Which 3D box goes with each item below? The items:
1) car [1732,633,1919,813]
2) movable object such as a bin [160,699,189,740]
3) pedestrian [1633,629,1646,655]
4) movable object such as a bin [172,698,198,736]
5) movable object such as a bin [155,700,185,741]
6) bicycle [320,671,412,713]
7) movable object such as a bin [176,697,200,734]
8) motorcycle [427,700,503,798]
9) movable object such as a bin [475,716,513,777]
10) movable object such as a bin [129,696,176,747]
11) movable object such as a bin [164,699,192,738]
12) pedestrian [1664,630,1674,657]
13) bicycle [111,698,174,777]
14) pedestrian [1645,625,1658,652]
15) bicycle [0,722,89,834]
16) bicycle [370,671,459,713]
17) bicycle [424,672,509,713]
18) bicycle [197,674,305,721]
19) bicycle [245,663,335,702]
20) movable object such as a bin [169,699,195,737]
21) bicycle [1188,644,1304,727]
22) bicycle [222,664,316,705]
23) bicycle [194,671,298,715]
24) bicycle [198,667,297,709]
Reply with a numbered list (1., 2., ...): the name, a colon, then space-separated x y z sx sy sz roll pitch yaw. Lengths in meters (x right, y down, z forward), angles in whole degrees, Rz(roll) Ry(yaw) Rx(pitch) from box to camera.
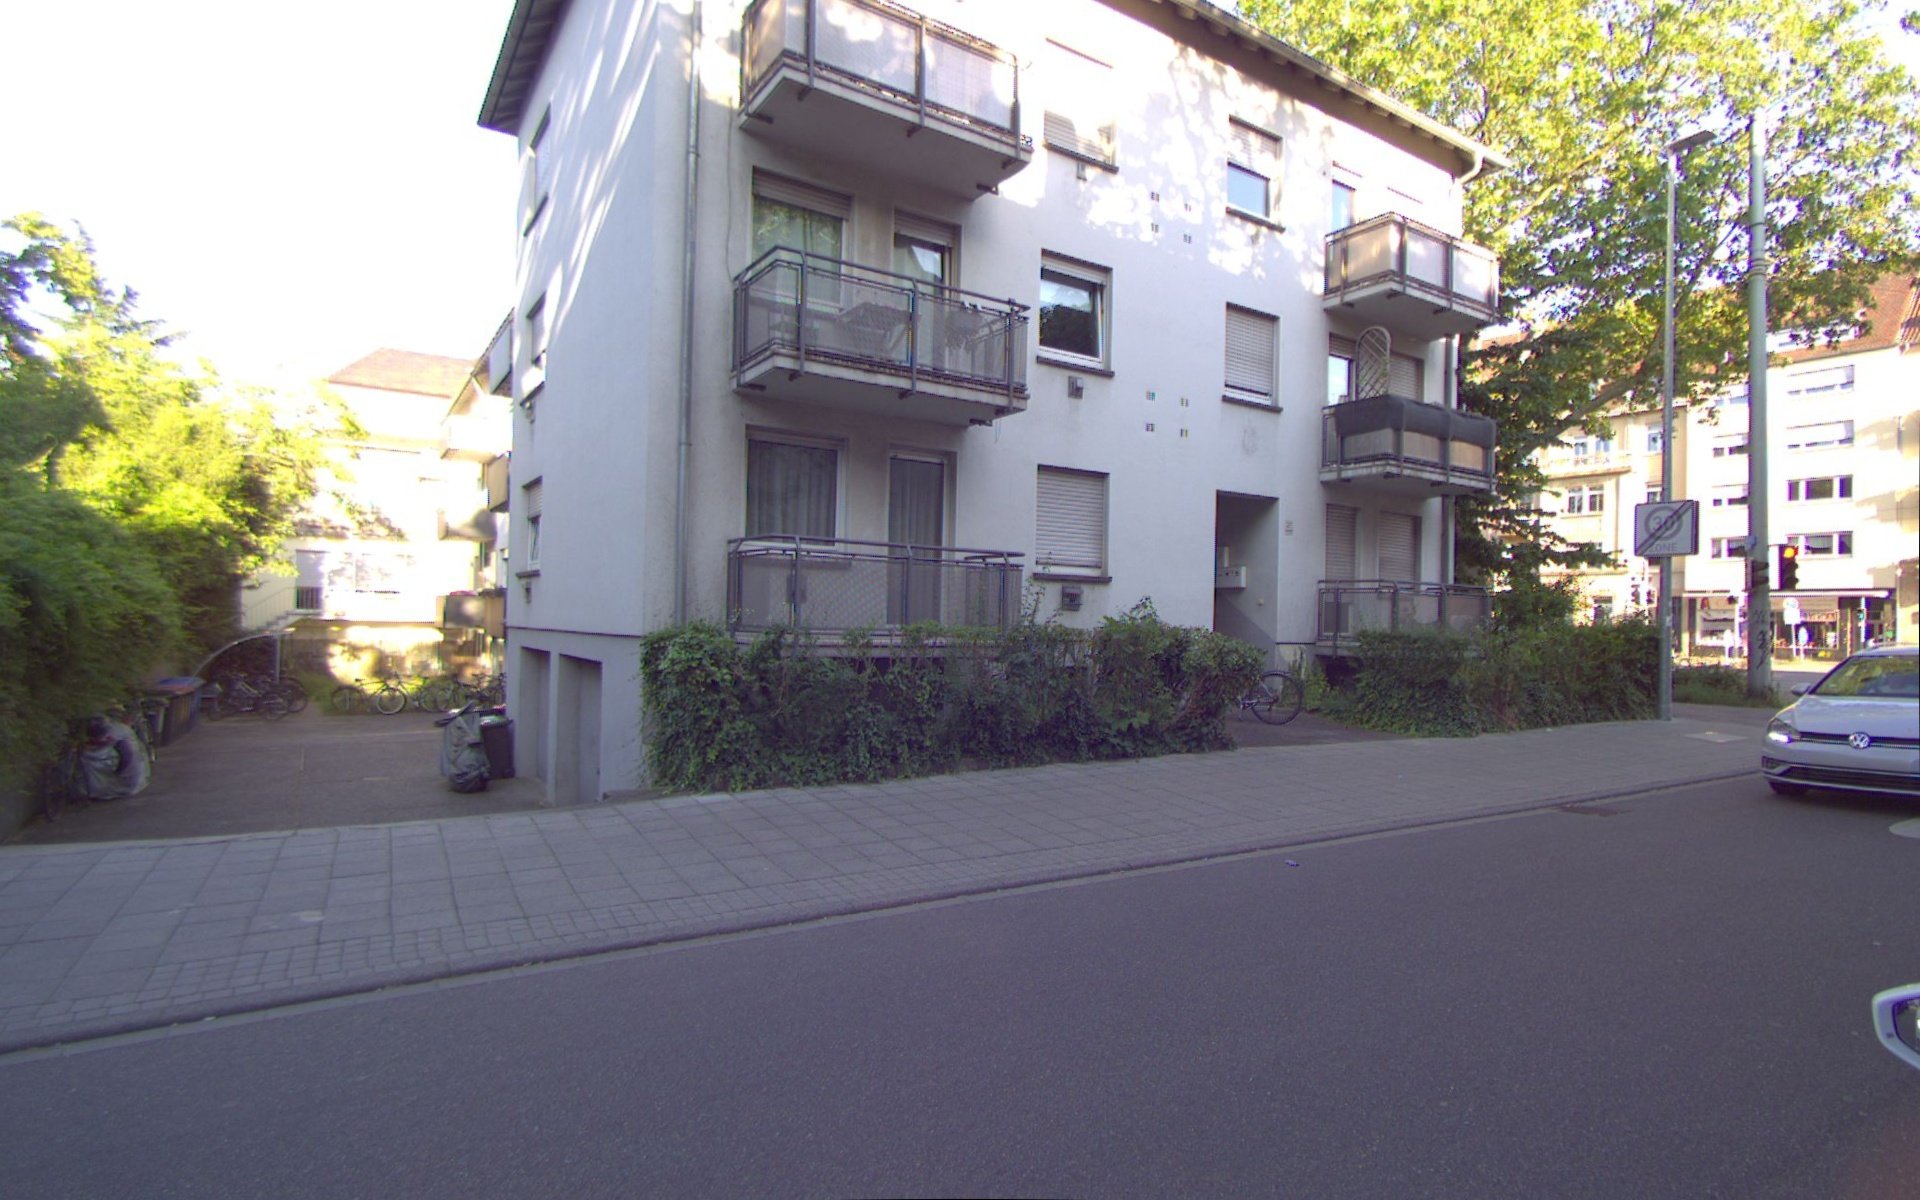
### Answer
1. car: 9.493 1.063 9.786 4.252 1.481 1.771 1 -2 -32
2. movable object such as a bin: -15.827 2.401 20.239 0.377 0.784 0.361 2 -4 -30
3. pedestrian: 40.674 2.532 60.132 0.526 1.531 0.510 1 -1 18
4. movable object such as a bin: -16.412 2.470 21.282 0.362 0.768 0.361 2 -4 -30
5. movable object such as a bin: -15.645 2.374 19.889 0.393 0.784 0.361 2 -4 -30
6. bicycle: -15.703 2.441 26.611 2.045 1.034 0.637 4 0 -30
7. movable object such as a bin: -16.615 2.488 21.622 0.342 0.768 0.361 2 -4 -30
8. motorcycle: -7.415 2.186 15.016 0.751 1.268 1.577 1 -2 -36
9. movable object such as a bin: -7.510 2.349 16.181 0.428 0.899 0.720 1 -2 -34
10. movable object such as a bin: -14.960 2.240 18.619 0.570 0.891 0.491 2 -4 -30
11. movable object such as a bin: -16.032 2.425 20.593 0.371 0.768 0.361 2 -4 -30
12. pedestrian: 41.481 2.540 58.764 0.423 1.531 0.473 0 -1 35
13. bicycle: -13.231 2.191 16.291 0.509 1.033 1.922 3 -1 -32
14. pedestrian: 40.261 2.243 58.459 0.558 1.531 0.499 0 -1 41
15. bicycle: -11.019 2.090 12.057 0.509 1.033 1.922 3 -1 -32
16. bicycle: -14.746 2.498 27.193 2.045 1.034 0.637 4 0 -30
17. bicycle: -13.666 2.563 27.825 2.045 1.034 0.637 4 0 -30
18. bicycle: -17.286 2.383 24.548 2.045 1.034 0.637 4 0 -30
19. bicycle: -19.028 2.350 28.562 2.045 1.034 0.564 4 0 -30
20. movable object such as a bin: -16.219 2.447 20.942 0.362 0.768 0.361 2 -4 -30
21. bicycle: 3.874 1.144 13.613 1.433 0.988 0.407 3 0 21
22. bicycle: -19.005 2.346 27.690 2.045 1.034 0.611 4 0 -30
23. bicycle: -18.038 2.365 25.426 2.045 1.034 0.568 4 0 -30
24. bicycle: -18.870 2.345 26.653 2.045 1.034 0.611 4 0 -30
